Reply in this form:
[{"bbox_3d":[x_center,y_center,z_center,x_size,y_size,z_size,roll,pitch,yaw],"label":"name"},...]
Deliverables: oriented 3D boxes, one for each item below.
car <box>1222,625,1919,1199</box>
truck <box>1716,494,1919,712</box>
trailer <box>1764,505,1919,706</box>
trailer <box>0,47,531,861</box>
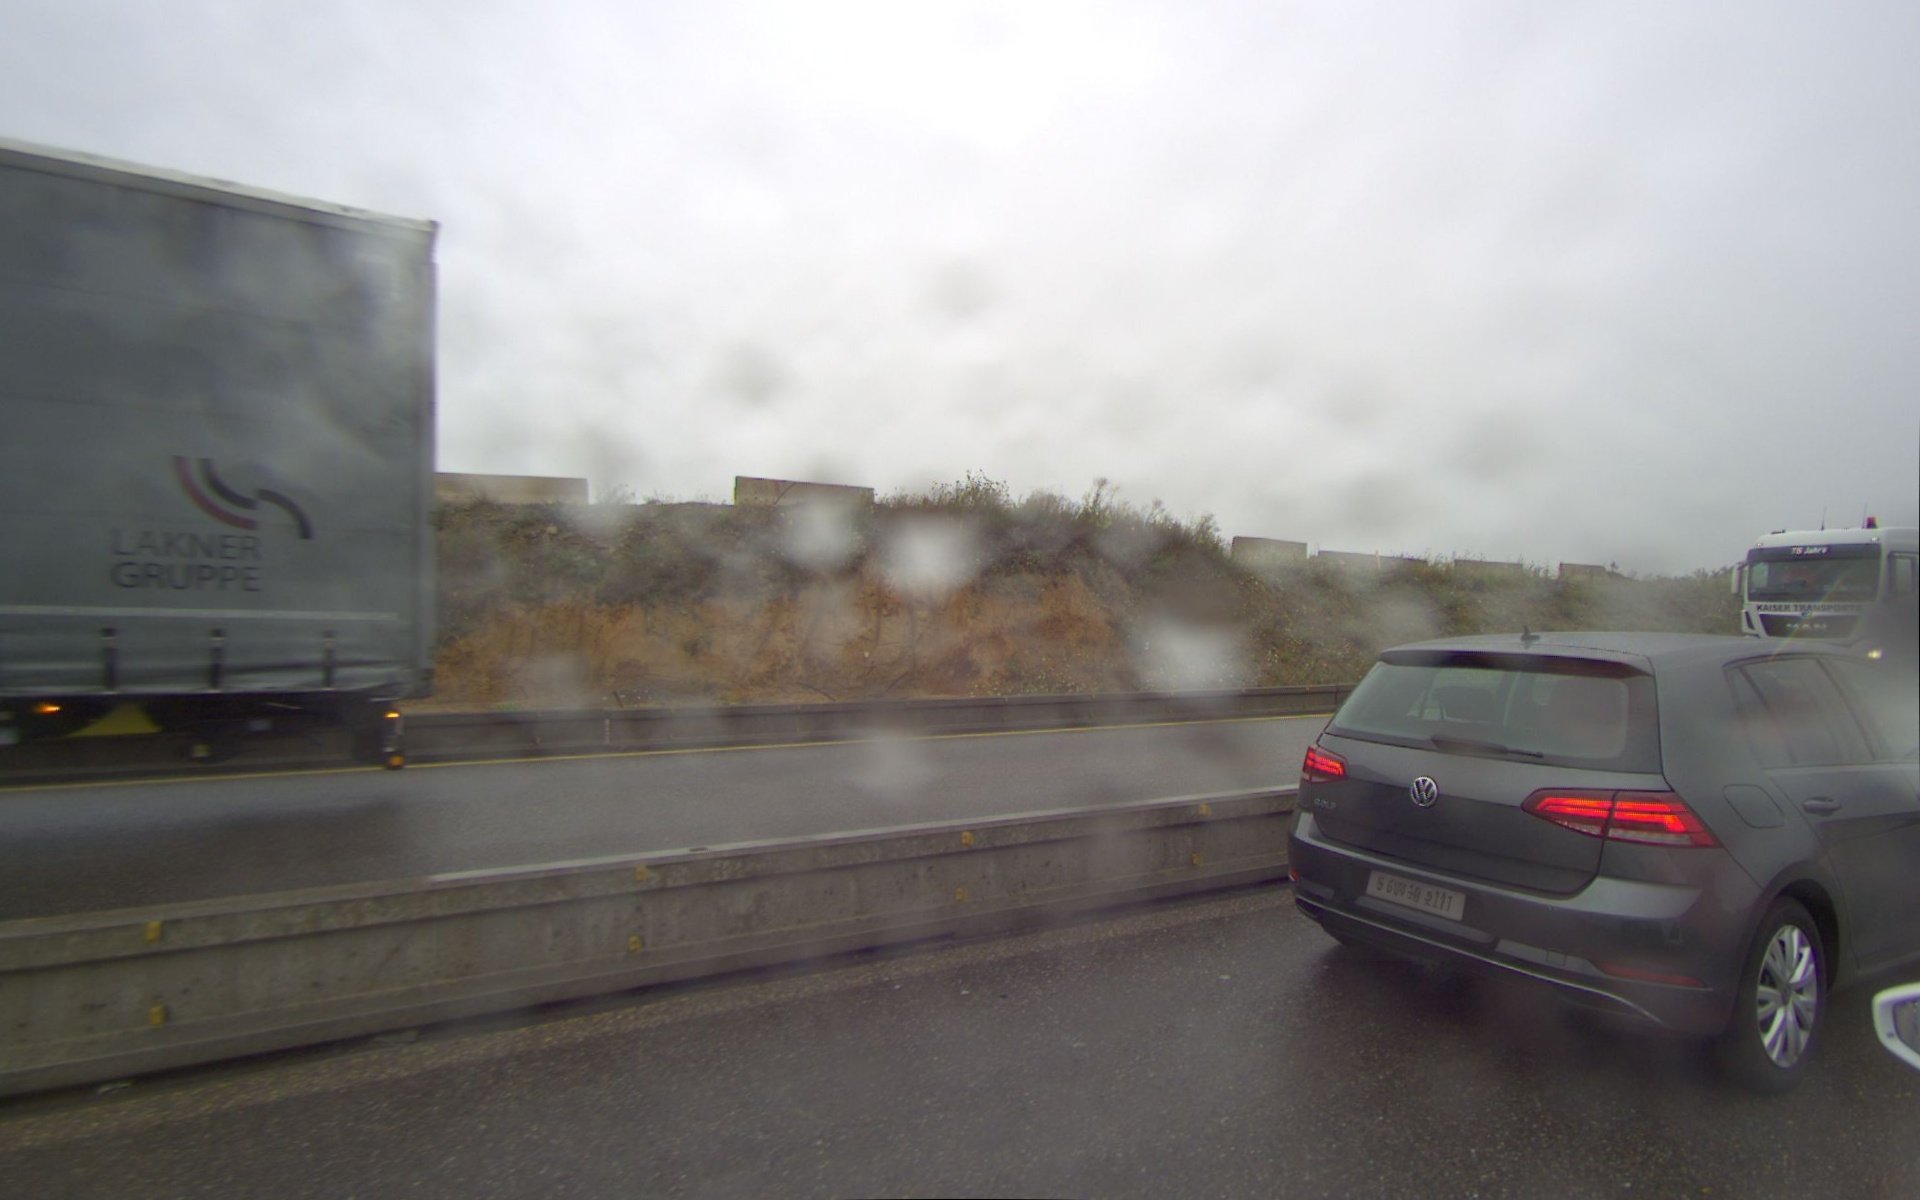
[{"bbox_3d":[3.296,0.916,4.439,4.319,1.526,1.606,2,-3,-31],"label":"car"},{"bbox_3d":[19.351,0.158,21.352,5.811,4.008,3.217,2,-2,-30],"label":"truck"},{"bbox_3d":[23.649,0.265,23.745,11.397,4.016,3.241,2,-2,-29],"label":"trailer"},{"bbox_3d":[-10.358,-0.825,4.224,15.518,4.479,2.981,1,-2,-31],"label":"trailer"}]
